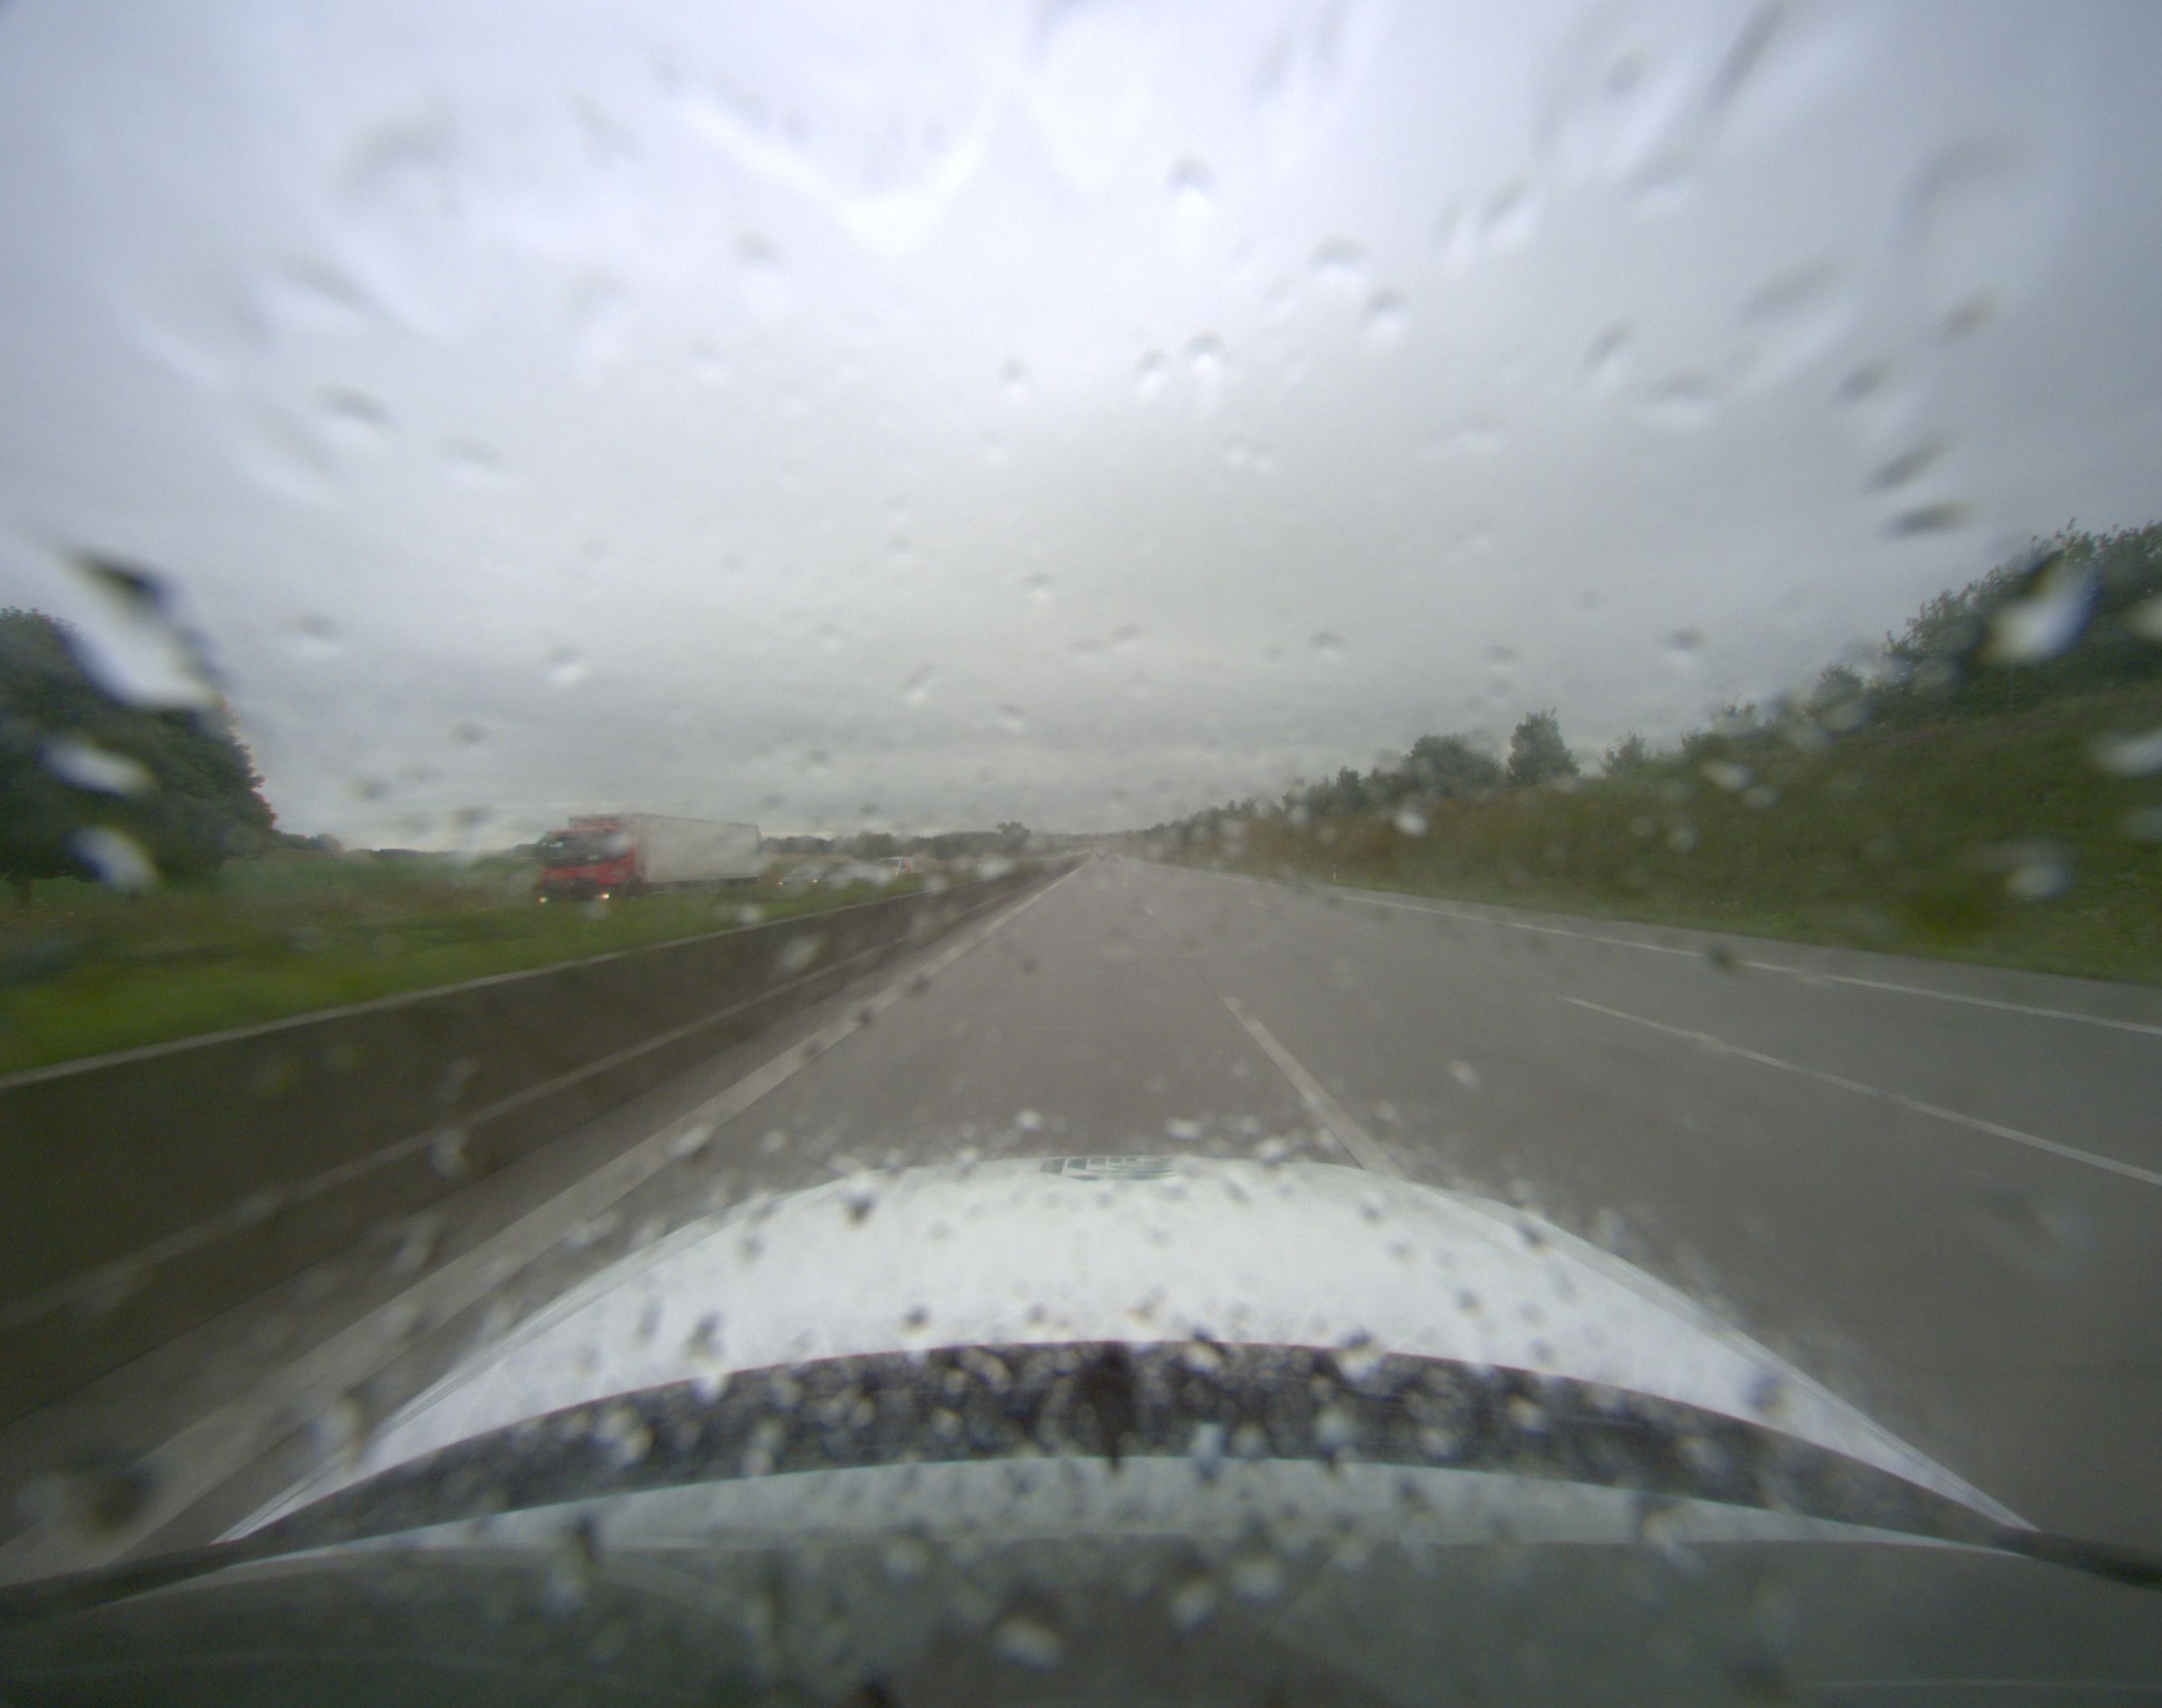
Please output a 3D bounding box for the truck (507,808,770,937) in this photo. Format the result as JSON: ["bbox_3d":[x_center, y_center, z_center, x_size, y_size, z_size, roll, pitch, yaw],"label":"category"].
[{"bbox_3d":[-15.864,0.474,31.054,2.892,3.855,12.453,-2,1,1],"label":"truck"}]

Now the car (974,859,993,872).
[{"bbox_3d":[-11.320,1.265,94.470,1.597,1.387,4.623,-1,0,0],"label":"car"}]

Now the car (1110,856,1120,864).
[{"bbox_3d":[6.781,1.190,164.984,1.842,1.331,4.429,-1,1,0],"label":"car"}]

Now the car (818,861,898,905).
[{"bbox_3d":[-8.459,1.064,31.275,1.721,1.480,4.455,-2,0,1],"label":"car"}]

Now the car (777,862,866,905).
[{"bbox_3d":[-11.921,1.288,37.904,2.102,1.631,5.852,-2,1,1],"label":"car"}]

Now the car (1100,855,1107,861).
[{"bbox_3d":[5.231,0.881,188.007,1.723,1.331,4.432,-1,1,2],"label":"car"}]
